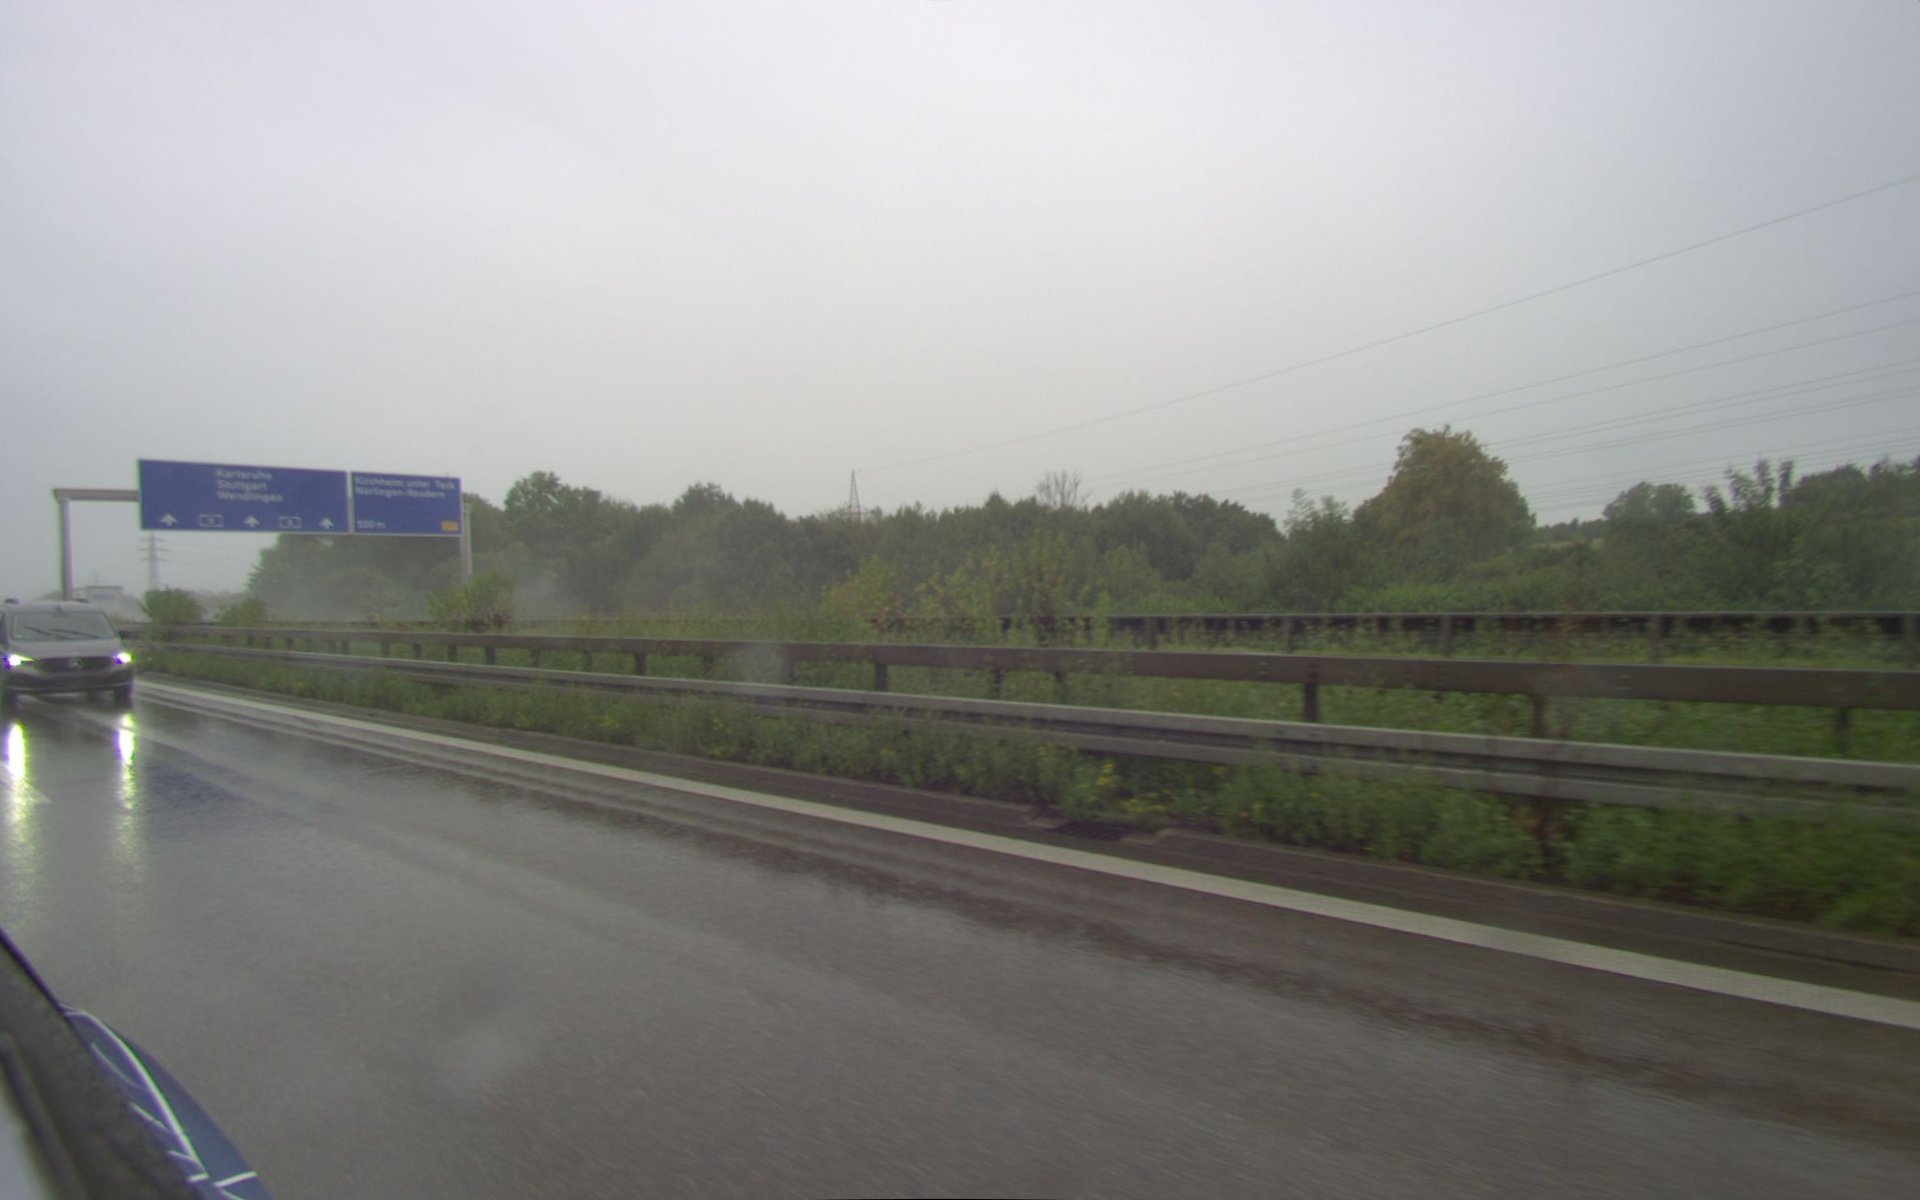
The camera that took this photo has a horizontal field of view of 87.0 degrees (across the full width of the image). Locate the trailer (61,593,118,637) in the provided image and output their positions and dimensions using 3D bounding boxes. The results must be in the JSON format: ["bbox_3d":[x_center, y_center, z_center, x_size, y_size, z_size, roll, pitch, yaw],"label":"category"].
[{"bbox_3d":[-82.968,1.515,96.333,13.927,3.749,2.308,-2,2,43],"label":"trailer"}]

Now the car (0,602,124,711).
[{"bbox_3d":[-16.815,0.980,18.570,2.017,1.787,4.505,1,-2,-43],"label":"car"}]

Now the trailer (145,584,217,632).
[{"bbox_3d":[-70.036,0.811,90.839,13.542,3.784,2.894,-2,2,44],"label":"trailer"}]
